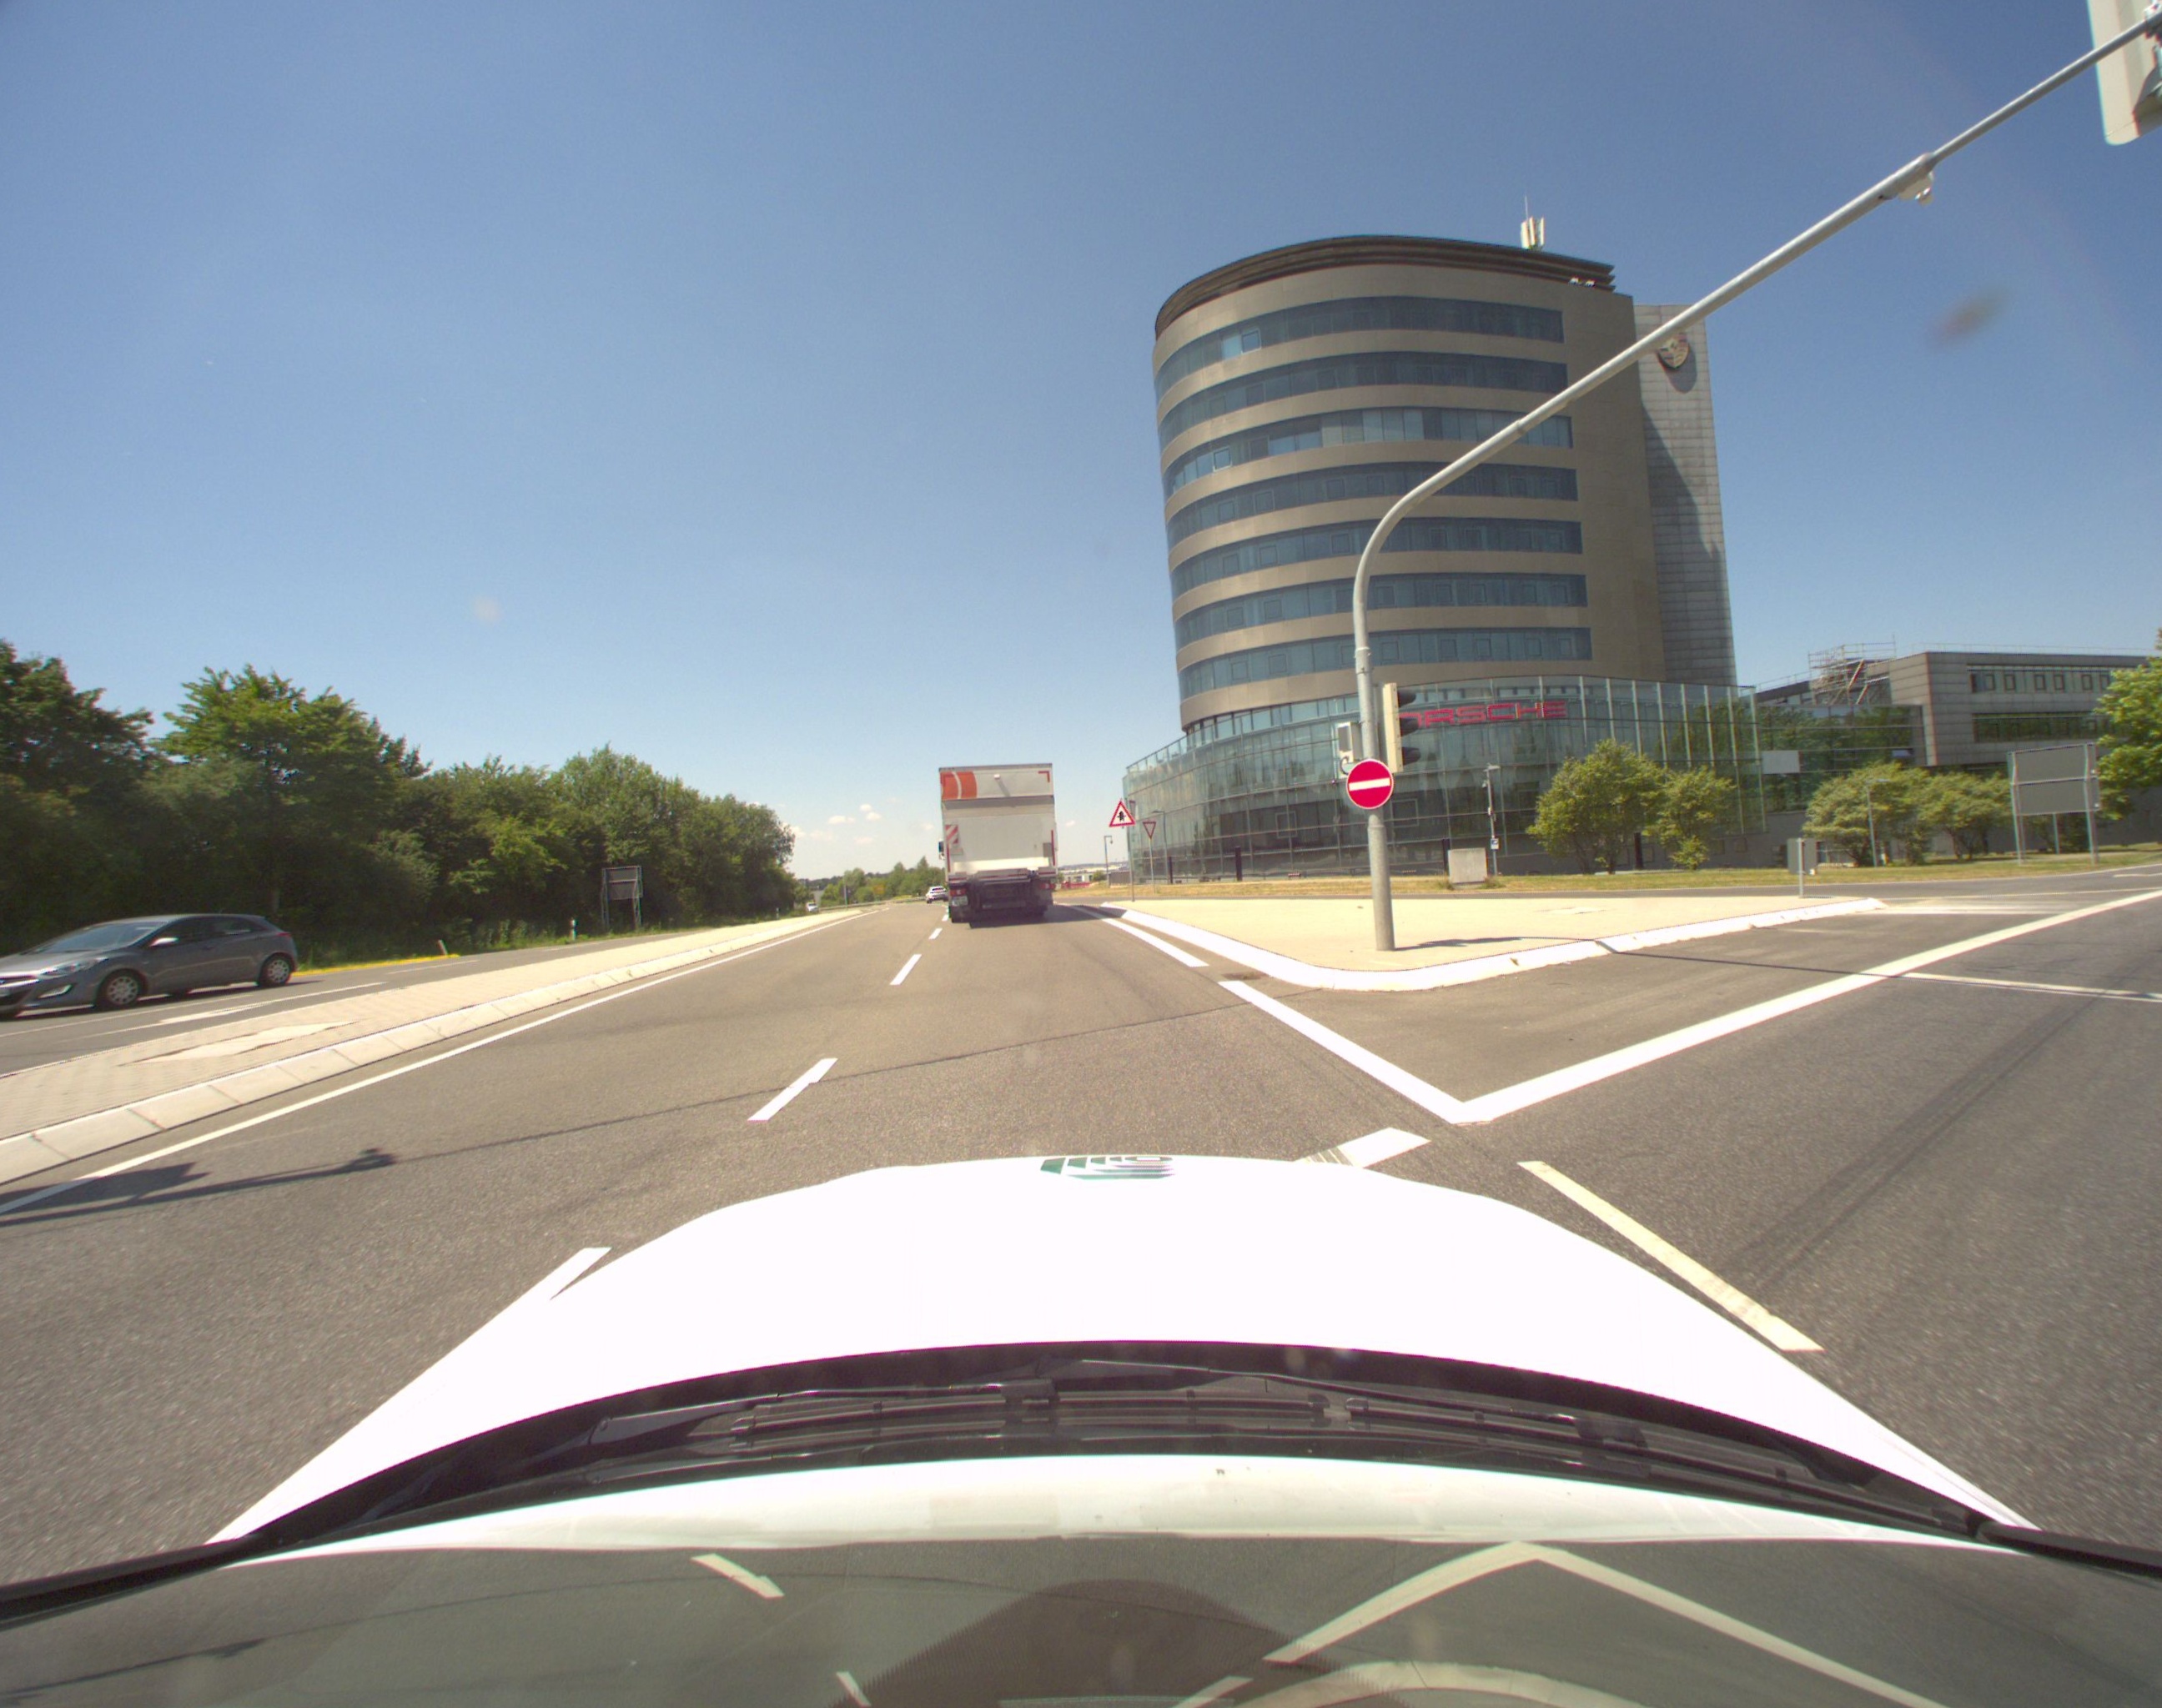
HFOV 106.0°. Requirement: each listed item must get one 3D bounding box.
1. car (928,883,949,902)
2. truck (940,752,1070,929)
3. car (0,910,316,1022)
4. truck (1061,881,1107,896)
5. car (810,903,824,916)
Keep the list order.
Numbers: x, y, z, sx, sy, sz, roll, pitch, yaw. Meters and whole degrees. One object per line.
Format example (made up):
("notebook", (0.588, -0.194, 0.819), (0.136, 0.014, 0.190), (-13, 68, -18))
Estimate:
("car", (-13.459, 3.615, 76.760), (1.804, 1.557, 3.983), (-2, -1, -12))
("truck", (-2.394, -0.272, 22.745), (2.769, 3.859, 9.340), (-2, 0, -9))
("car", (-15.793, 1.786, 13.816), (1.688, 1.456, 4.323), (-4, -2, -4))
("truck", (0.684, 7.964, 187.938), (10.284, 3.219, 2.467), (-2, -1, 16))
("car", (-47.017, 9.855, 144.769), (1.811, 1.970, 3.966), (-2, -1, -25))
